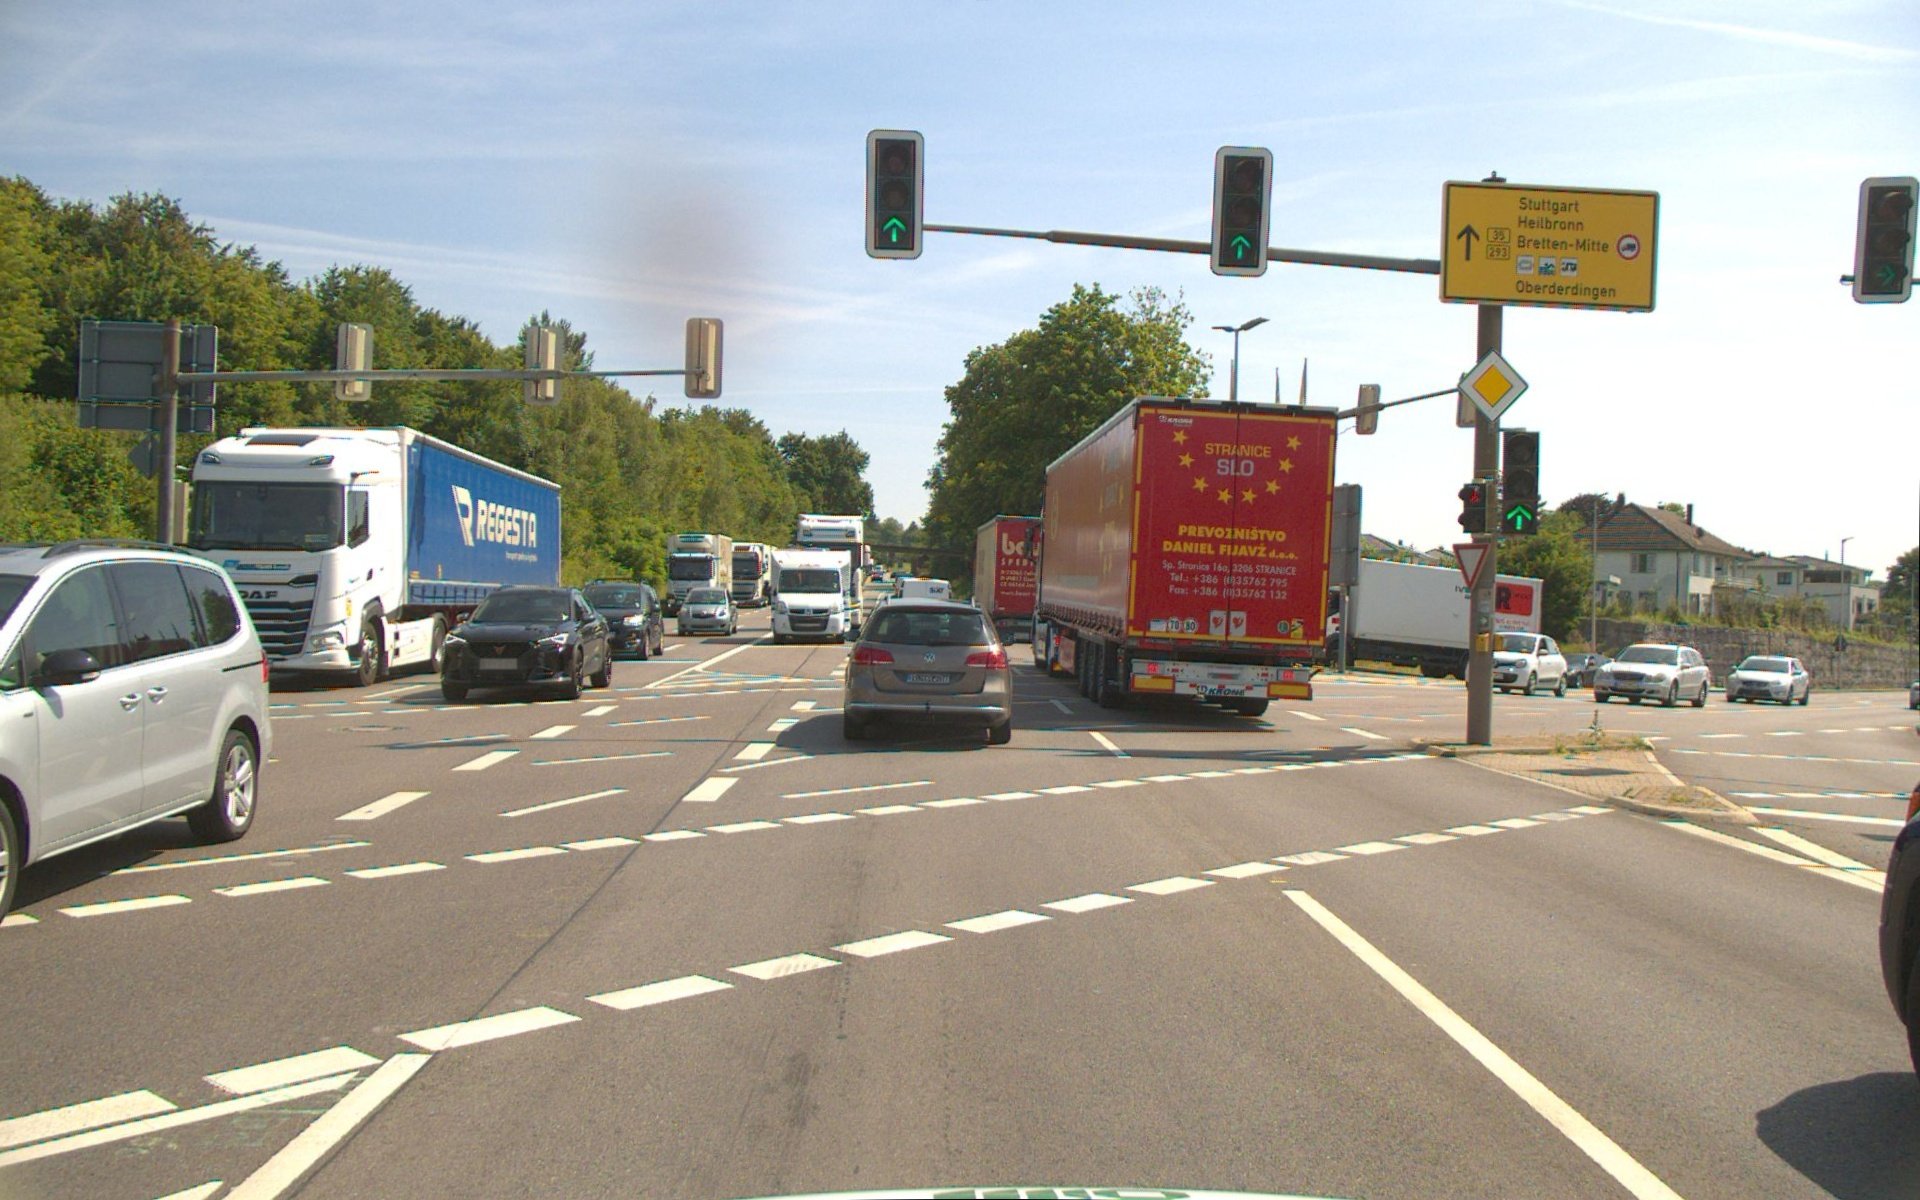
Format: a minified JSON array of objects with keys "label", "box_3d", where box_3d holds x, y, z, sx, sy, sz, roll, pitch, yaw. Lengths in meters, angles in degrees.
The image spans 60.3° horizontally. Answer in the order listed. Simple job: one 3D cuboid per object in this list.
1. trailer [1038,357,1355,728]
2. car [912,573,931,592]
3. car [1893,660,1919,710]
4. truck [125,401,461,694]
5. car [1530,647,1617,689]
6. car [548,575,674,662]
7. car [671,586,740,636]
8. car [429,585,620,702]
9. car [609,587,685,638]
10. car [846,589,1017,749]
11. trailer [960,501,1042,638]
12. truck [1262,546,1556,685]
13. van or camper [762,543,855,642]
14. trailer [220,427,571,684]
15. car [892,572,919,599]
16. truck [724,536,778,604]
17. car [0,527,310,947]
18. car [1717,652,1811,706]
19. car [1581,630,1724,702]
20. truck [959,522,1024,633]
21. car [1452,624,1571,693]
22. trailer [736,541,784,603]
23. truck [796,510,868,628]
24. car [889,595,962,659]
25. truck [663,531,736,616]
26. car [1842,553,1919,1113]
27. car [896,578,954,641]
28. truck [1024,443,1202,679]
[{"label":"trailer","box_3d":[3.222,-0.736,26.886,2.782,4.441,13.163,2,0,-2]},{"label":"car","box_3d":[-4.173,-1.897,180.472,1.954,2.049,3.998,0,0,-3]},{"label":"car","box_3d":[33.415,2.950,56.794,1.960,1.602,3.985,4,0,35]},{"label":"truck","box_3d":[-10.454,-0.754,26.751,3.124,4.151,6.342,0,0,-3]},{"label":"car","box_3d":[23.482,2.611,63.212,1.961,1.486,4.302,1,-2,37]},{"label":"car","box_3d":[-7.466,0.372,35.744,1.953,1.756,3.999,0,0,-1]},{"label":"car","box_3d":[-8.144,0.340,53.170,1.690,1.528,3.999,0,0,-1]},{"label":"car","box_3d":[-6.134,0.561,23.796,1.955,1.511,4.449,0,0,-6]},{"label":"car","box_3d":[-10.855,0.408,57.625,1.953,1.706,4.306,0,0,-2]},{"label":"car","box_3d":[-0.386,0.662,18.059,1.658,1.539,3.997,0,0,-3]},{"label":"trailer","box_3d":[1.306,-0.989,58.983,2.346,4.317,13.075,0,0,-1]},{"label":"truck","box_3d":[15.214,0.572,55.950,9.527,3.690,2.752,6,-2,-19]},{"label":"van or camper","box_3d":[-4.281,-0.210,47.799,2.283,2.645,6.976,0,0,-2]},{"label":"trailer","box_3d":[-10.822,-0.758,33.936,3.031,4.151,14.118,0,0,-3]},{"label":"car","box_3d":[-4.212,-1.097,127.794,1.954,2.049,3.998,0,0,-3]},{"label":"truck","box_3d":[-13.432,-1.891,106.898,2.773,4.188,9.675,0,0,-3]},{"label":"car","box_3d":[-4.982,0.519,8.268,1.806,1.762,4.586,2,1,-3]},{"label":"car","box_3d":[25.282,2.496,51.936,1.881,1.524,3.983,3,-1,37]},{"label":"car","box_3d":[17.048,1.647,40.572,1.962,1.531,4.977,3,-1,38]},{"label":"truck","box_3d":[1.193,-0.861,65.858,2.357,4.200,5.520,0,0,-1]},{"label":"car","box_3d":[13.968,1.499,41.775,1.678,1.530,3.739,3,-1,37]},{"label":"trailer","box_3d":[-13.968,-1.895,116.120,2.784,4.141,8.750,0,0,-3]},{"label":"truck","box_3d":[-4.708,-1.108,61.382,2.487,4.159,6.261,0,0,-4]},{"label":"car","box_3d":[-0.930,0.655,42.447,1.735,1.539,3.997,0,0,-3]},{"label":"truck","box_3d":[-13.173,-1.286,84.206,2.675,4.069,9.614,0,0,-3]},{"label":"car","box_3d":[3.820,0.714,3.431,1.735,1.683,3.998,0,0,-2]},{"label":"car","box_3d":[-1.162,0.283,53.746,1.735,1.970,3.975,0,0,-3]},{"label":"truck","box_3d":[3.015,-0.749,34.194,2.812,4.355,5.837,2,0,-2]}]
